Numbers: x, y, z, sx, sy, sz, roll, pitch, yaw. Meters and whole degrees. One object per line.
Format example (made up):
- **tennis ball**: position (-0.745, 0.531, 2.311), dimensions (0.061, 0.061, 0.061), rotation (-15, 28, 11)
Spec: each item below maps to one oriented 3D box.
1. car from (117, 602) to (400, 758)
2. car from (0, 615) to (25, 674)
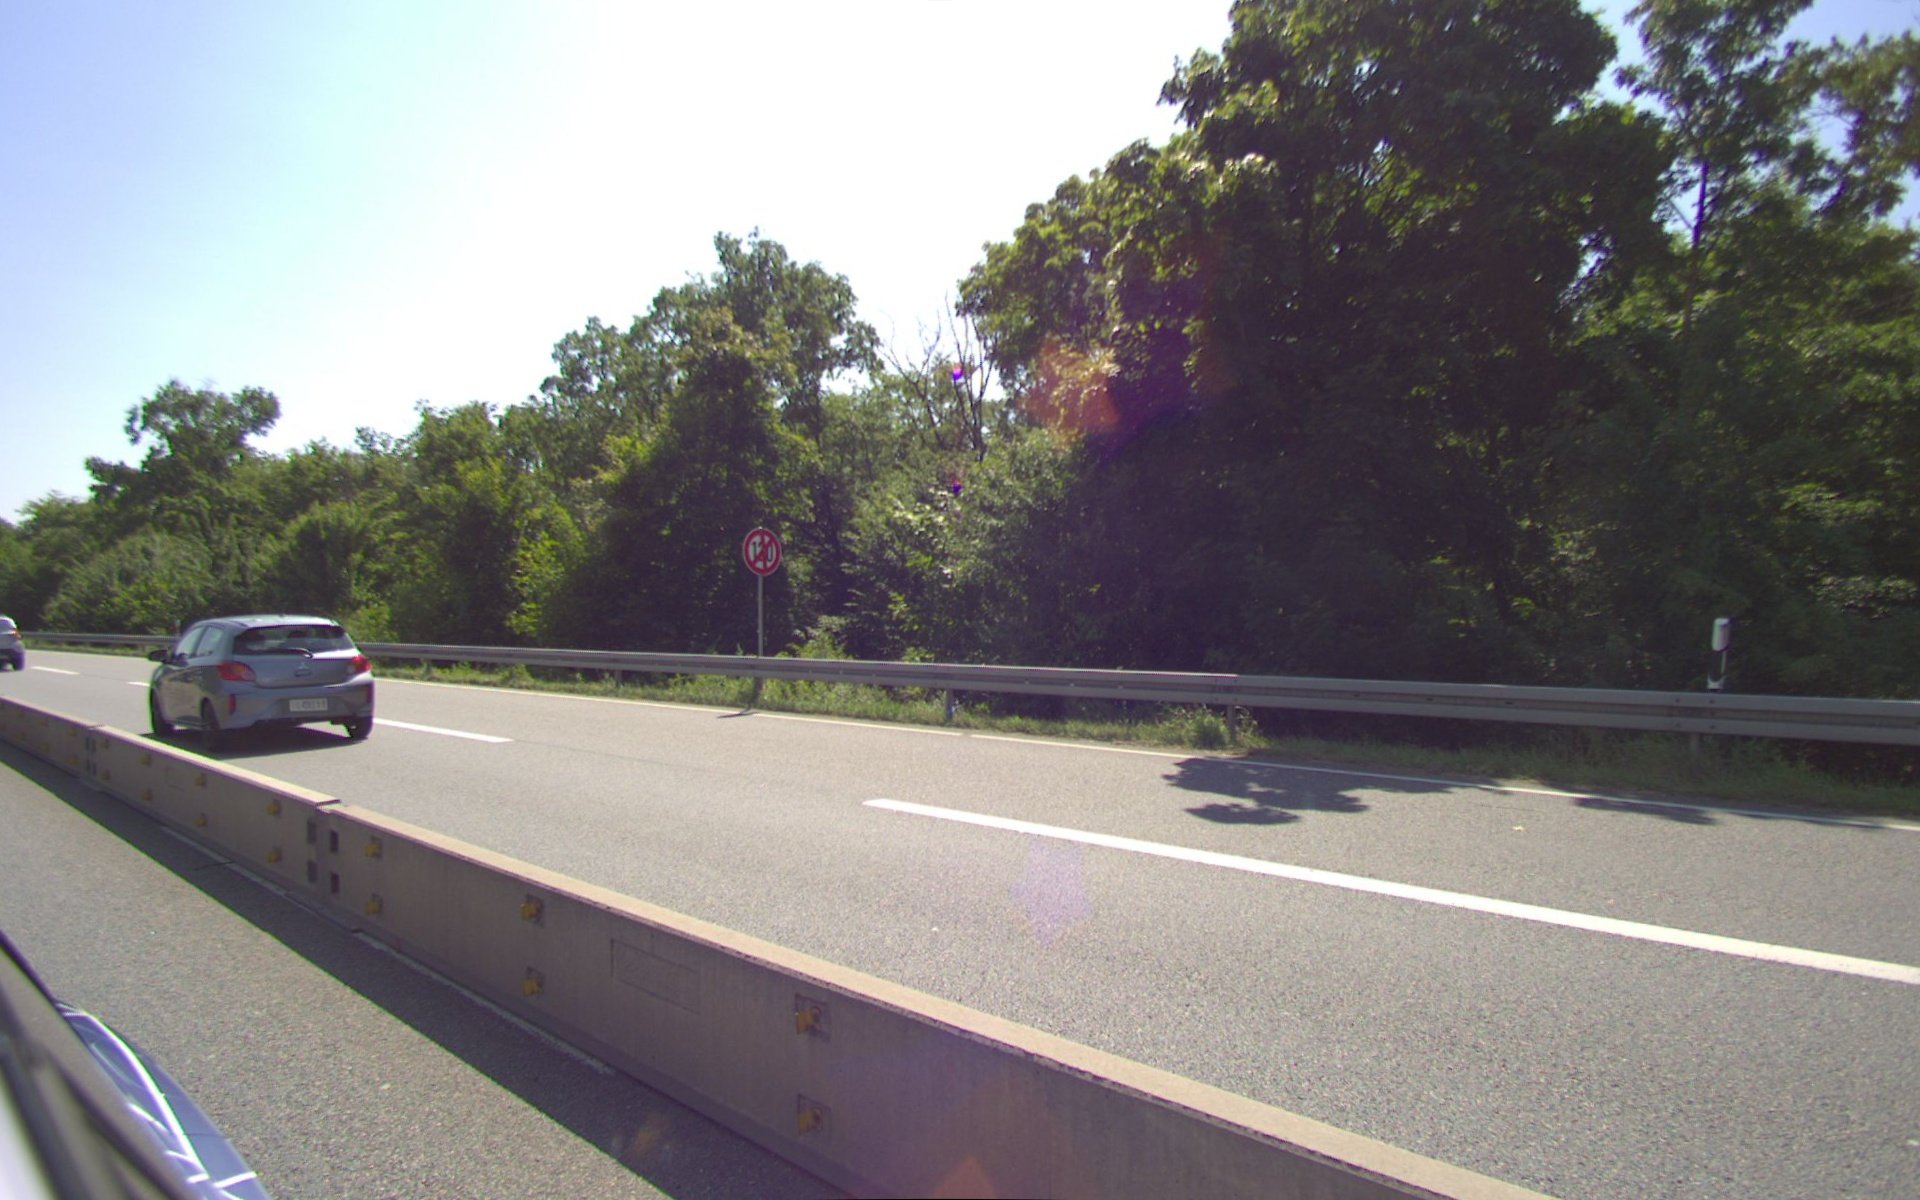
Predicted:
- **car**: position (-8.852, 0.850, 12.622), dimensions (4.434, 1.591, 1.928), rotation (-1, 0, 42)
- **car**: position (-28.500, 1.292, 29.192), dimensions (3.782, 1.642, 1.810), rotation (-2, -1, 41)
